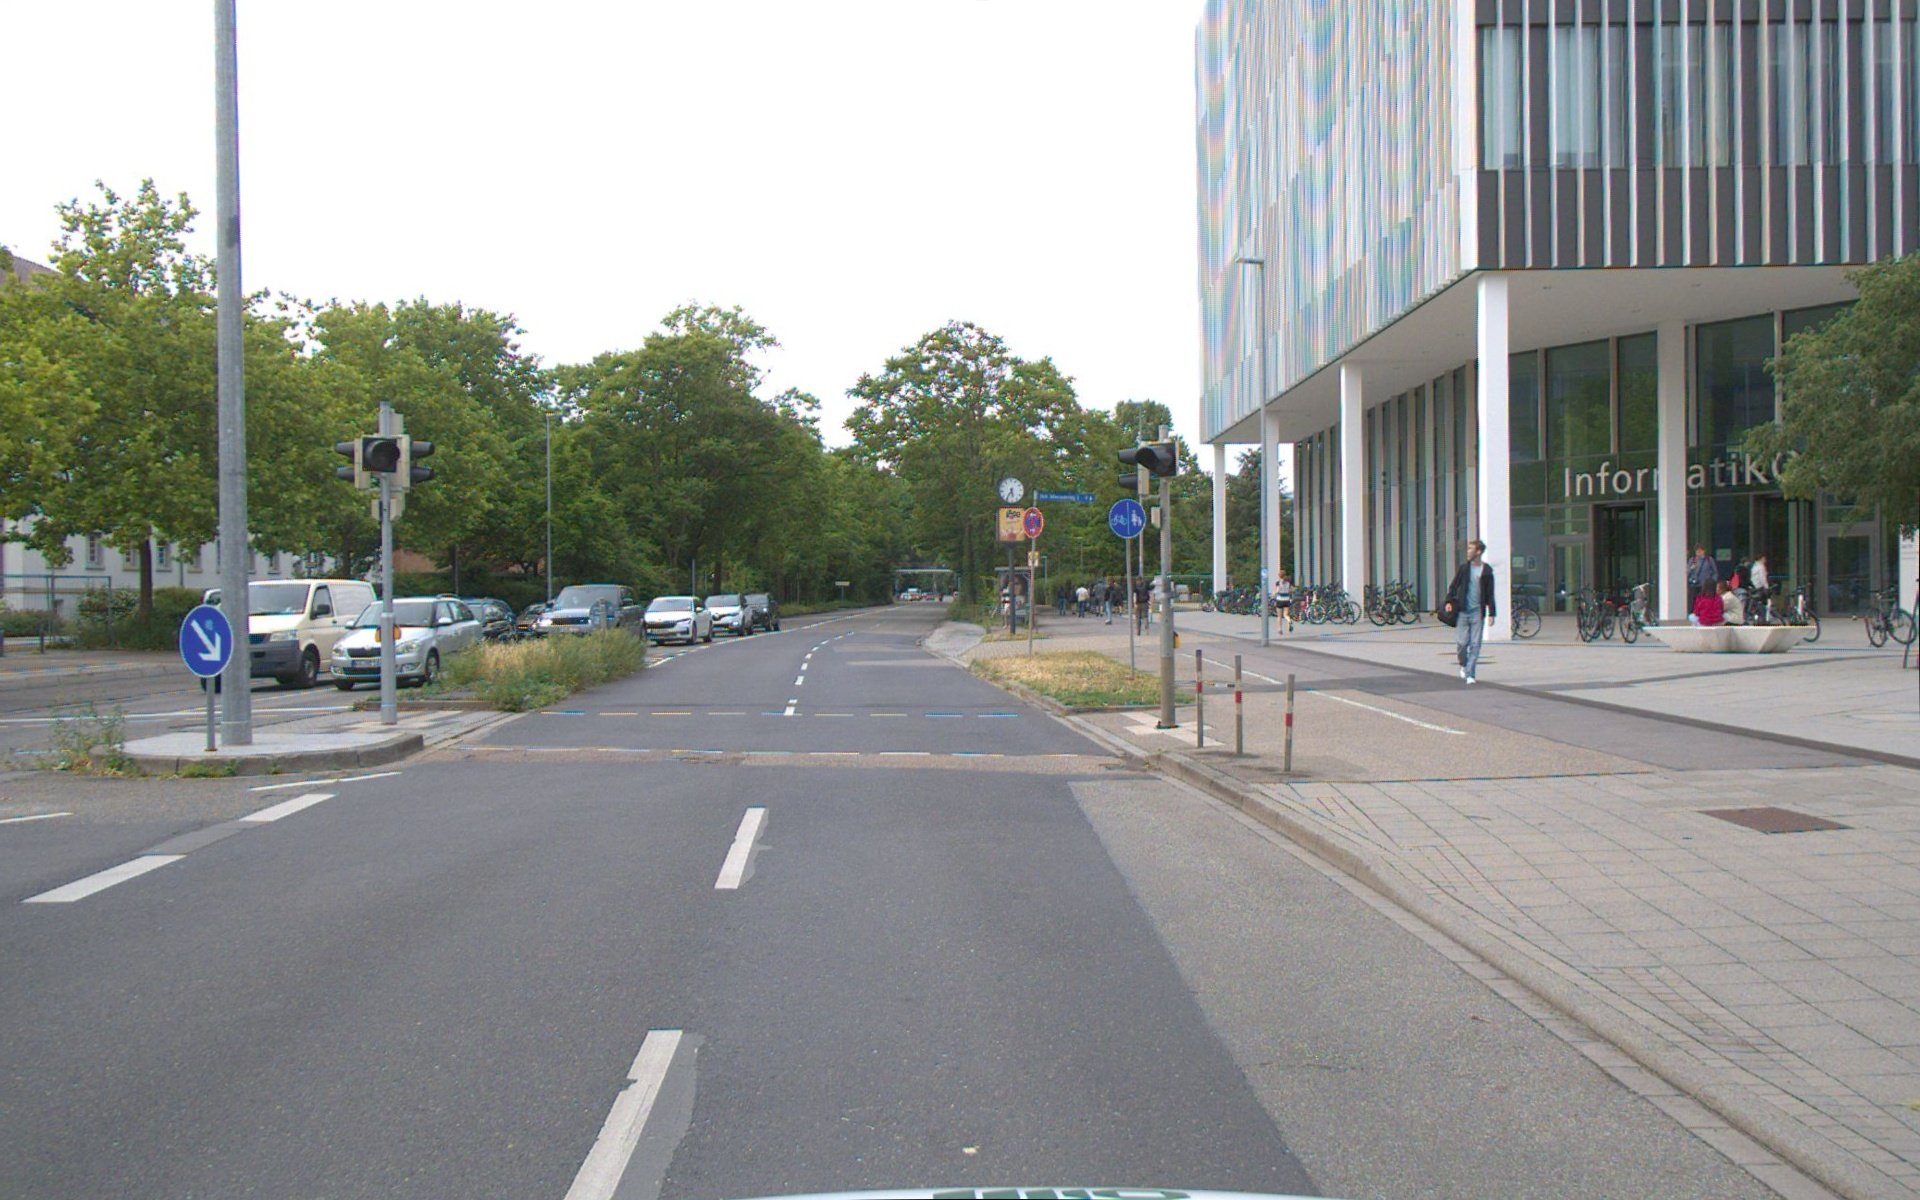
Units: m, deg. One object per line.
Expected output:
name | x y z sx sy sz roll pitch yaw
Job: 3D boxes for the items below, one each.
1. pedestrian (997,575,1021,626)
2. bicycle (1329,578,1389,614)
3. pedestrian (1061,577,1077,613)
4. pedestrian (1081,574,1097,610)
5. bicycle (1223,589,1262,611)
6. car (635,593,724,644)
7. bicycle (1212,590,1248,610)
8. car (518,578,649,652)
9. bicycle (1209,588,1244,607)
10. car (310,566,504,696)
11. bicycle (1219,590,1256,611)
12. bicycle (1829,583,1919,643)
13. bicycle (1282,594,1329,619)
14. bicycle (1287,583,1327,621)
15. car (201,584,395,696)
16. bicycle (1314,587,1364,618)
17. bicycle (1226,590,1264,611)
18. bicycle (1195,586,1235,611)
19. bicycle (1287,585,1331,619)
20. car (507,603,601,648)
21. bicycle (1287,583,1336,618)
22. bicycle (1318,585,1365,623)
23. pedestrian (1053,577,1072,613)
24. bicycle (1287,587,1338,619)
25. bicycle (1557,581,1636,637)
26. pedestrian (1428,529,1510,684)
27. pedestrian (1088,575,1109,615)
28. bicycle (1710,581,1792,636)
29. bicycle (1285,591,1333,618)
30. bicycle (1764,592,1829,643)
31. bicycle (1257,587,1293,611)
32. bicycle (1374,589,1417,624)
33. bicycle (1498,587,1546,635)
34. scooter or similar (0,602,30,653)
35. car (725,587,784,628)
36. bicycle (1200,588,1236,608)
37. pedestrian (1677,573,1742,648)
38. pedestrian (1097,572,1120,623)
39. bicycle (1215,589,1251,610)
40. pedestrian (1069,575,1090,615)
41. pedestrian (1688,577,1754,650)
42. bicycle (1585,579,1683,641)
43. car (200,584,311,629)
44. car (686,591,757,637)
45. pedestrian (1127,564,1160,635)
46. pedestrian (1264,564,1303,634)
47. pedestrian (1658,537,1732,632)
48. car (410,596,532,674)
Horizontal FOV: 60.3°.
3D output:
pedestrian | 2.054 0.027 69.223 0.894 2.048 0.854 -3 2 -1
bicycle | 14.204 -0.135 58.940 1.952 1.164 0.644 -3 0 42
pedestrian | 6.268 -0.269 95.183 0.807 2.049 0.720 -1 0 -4
pedestrian | 7.410 -0.442 95.328 0.807 2.049 0.720 -2 0 0
bicycle | 11.764 0.011 68.888 1.501 0.848 0.556 -2 0 1
car | -8.688 0.530 51.663 1.864 1.491 4.911 1 0 1
bicycle | 12.644 -0.014 77.331 1.573 0.890 0.556 -2 0 1
car | -9.267 0.322 41.103 1.952 1.716 4.949 0 0 2
bicycle | 12.738 -0.114 79.146 1.574 0.890 0.556 -1 0 -3
car | -9.519 0.495 28.831 1.952 2.049 4.000 -1 0 1
bicycle | 12.688 0.033 75.728 1.573 0.890 0.556 -2 0 1
bicycle | 16.967 0.227 30.329 2.161 1.023 0.774 -2 0 -30
bicycle | 12.572 0.232 60.150 1.573 0.890 0.556 -1 0 1
bicycle | 11.140 0.057 53.142 0.623 1.160 2.199 -4 0 -4
car | -12.036 0.665 30.406 1.735 1.880 4.488 1 0 0
bicycle | 12.768 0.081 55.803 1.572 0.952 0.569 -4 1 11
bicycle | 12.851 0.028 74.537 1.573 0.890 0.556 -2 0 1
bicycle | 12.378 -0.062 80.292 1.758 1.100 0.626 -3 0 -1
bicycle | 11.969 0.066 56.725 1.371 1.061 0.559 -3 0 1
car | -14.535 0.888 59.471 1.834 1.449 4.731 2 0 4
bicycle | 12.495 0.014 58.873 1.609 1.110 0.573 -4 0 9
bicycle | 11.598 0.117 50.334 0.597 1.098 1.958 -3 1 -11
pedestrian | 5.879 -0.265 95.196 0.907 2.049 1.039 -1 0 -4
bicycle | 12.202 0.102 57.292 1.573 0.999 0.556 -4 0 1
bicycle | 13.833 0.186 35.906 2.165 1.135 0.725 -2 0 -43
pedestrian | 6.899 0.084 22.461 0.825 2.049 0.895 -1 0 2
pedestrian | 7.153 -0.246 85.331 0.907 2.049 1.039 -1 0 -4
bicycle | 15.581 0.165 32.548 1.943 1.019 0.763 -2 0 -42
bicycle | 12.208 0.164 57.875 1.573 0.890 0.556 -1 0 1
bicycle | 16.022 0.329 31.664 0.660 0.914 1.835 -1 0 41
bicycle | 12.141 -0.042 63.686 1.256 0.890 0.556 -2 0 1
bicycle | 12.771 0.185 48.504 1.474 0.945 0.434 -2 2 -39
bicycle | 12.916 0.240 38.062 0.625 1.080 1.842 1 0 5
scooter or similar | -24.144 0.689 41.256 1.542 1.265 0.566 -1 0 0
car | -8.744 0.308 70.613 1.864 1.621 4.517 -1 0 1
bicycle | 12.218 -0.084 78.296 1.573 0.890 0.556 -2 0 1
pedestrian | 12.515 0.169 27.608 0.828 1.227 0.891 -1 0 35
pedestrian | 6.016 -0.111 66.961 0.825 2.049 0.894 -1 0 -1
bicycle | 11.574 -0.018 70.123 1.425 0.853 0.556 -2 0 1
pedestrian | 6.164 -0.248 85.383 0.907 2.049 1.039 -1 0 -4
pedestrian | 12.962 0.219 28.201 0.872 1.214 0.846 -1 0 14
bicycle | 14.079 0.191 34.502 2.696 1.208 0.763 -2 0 -42
car | -26.743 0.236 62.861 3.513 1.629 1.651 1 0 -2
car | -8.870 0.501 61.758 1.953 1.574 4.180 -3 0 1
pedestrian | 5.459 -0.009 49.238 0.825 2.048 0.895 -3 0 2
pedestrian | 8.806 -0.027 44.998 0.825 1.868 0.894 -1 0 -2
pedestrian | 16.456 -0.346 37.041 1.156 2.098 1.136 1 0 3
car | -11.661 0.799 39.715 1.663 1.719 4.000 -1 0 1
